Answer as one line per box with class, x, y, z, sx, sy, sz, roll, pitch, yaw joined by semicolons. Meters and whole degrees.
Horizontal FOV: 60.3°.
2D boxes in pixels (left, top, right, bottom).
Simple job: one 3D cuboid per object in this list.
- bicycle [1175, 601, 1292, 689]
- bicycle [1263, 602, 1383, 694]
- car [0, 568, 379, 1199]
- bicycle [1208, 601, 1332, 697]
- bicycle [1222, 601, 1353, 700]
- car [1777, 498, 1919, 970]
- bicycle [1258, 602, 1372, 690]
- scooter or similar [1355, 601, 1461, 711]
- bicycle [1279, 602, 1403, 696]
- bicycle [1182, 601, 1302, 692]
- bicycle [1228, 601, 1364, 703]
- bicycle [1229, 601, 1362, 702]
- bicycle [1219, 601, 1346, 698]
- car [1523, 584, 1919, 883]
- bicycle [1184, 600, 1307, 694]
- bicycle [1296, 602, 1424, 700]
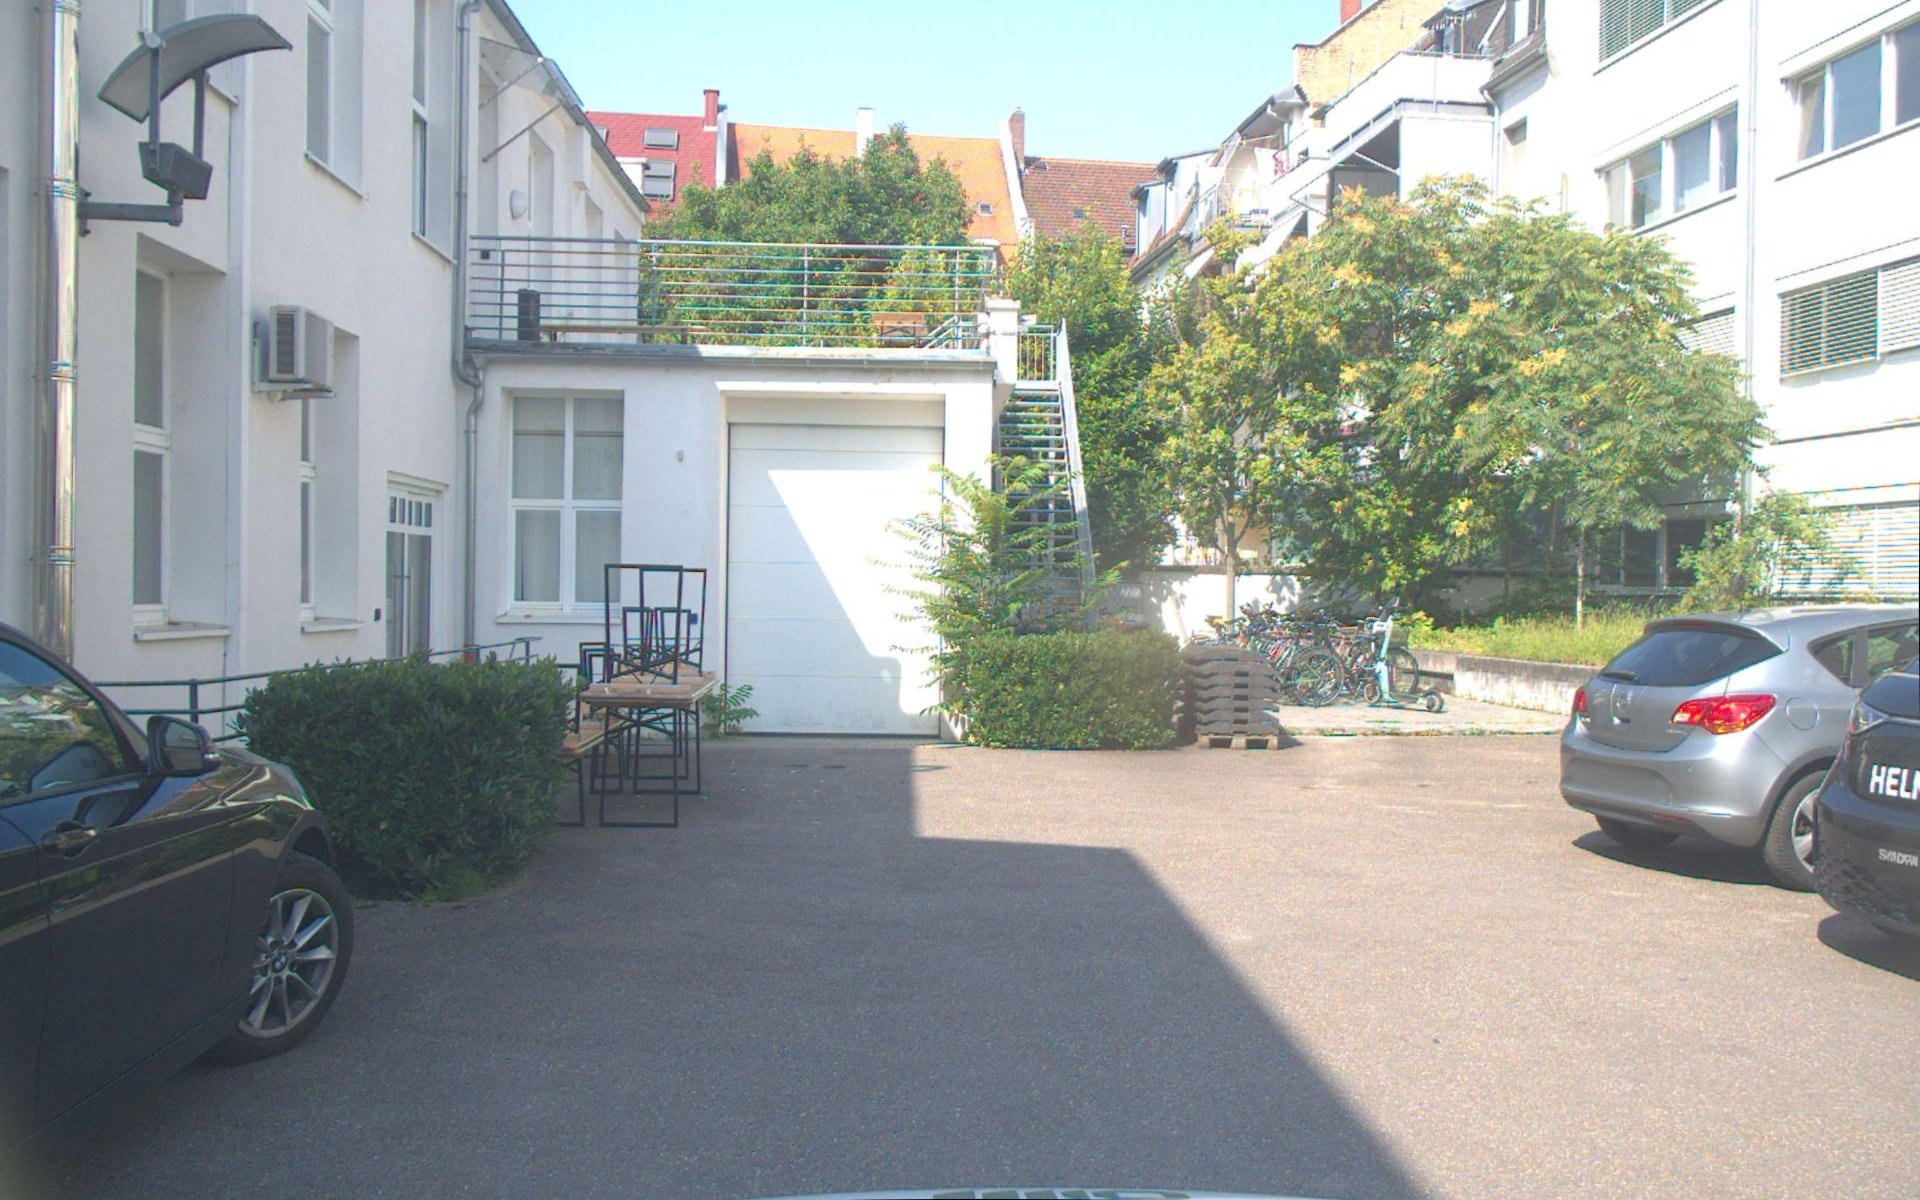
bicycle;3.893;0.633;23.588;1.592;1.235;0.423;0;0;-7
bicycle;4.970;0.649;22.685;1.588;1.235;0.424;0;0;10
car;-2.585;0.670;3.283;1.655;1.484;3.920;1;0;-3
bicycle;4.059;0.632;21.680;1.588;1.235;0.327;0;0;11
bicycle;4.126;0.632;20.867;1.590;1.235;0.327;0;0;-1
car;5.906;0.524;6.735;4.420;1.826;1.878;0;-1;-11
bicycle;5.078;0.653;23.716;1.588;1.235;0.424;0;0;10
scooter or similar;5.421;0.658;20.053;0.375;1.283;1.333;0;0;-33
bicycle;5.082;0.650;22.113;1.588;1.235;0.424;0;0;11
bicycle;3.916;0.633;22.986;1.592;1.235;0.423;0;0;-8
bicycle;4.109;0.630;20.251;1.590;1.235;0.327;0;0;-1
bicycle;4.164;0.632;20.574;1.590;1.235;0.327;0;0;-1
bicycle;4.147;0.633;21.318;1.588;1.235;0.327;0;0;8
car;5.488;0.684;9.606;3.862;1.508;1.770;0;-1;-11
bicycle;3.854;0.630;22.349;1.590;1.235;0.424;0;0;-3
bicycle;5.133;0.649;21.254;1.588;1.235;0.327;0;0;13
